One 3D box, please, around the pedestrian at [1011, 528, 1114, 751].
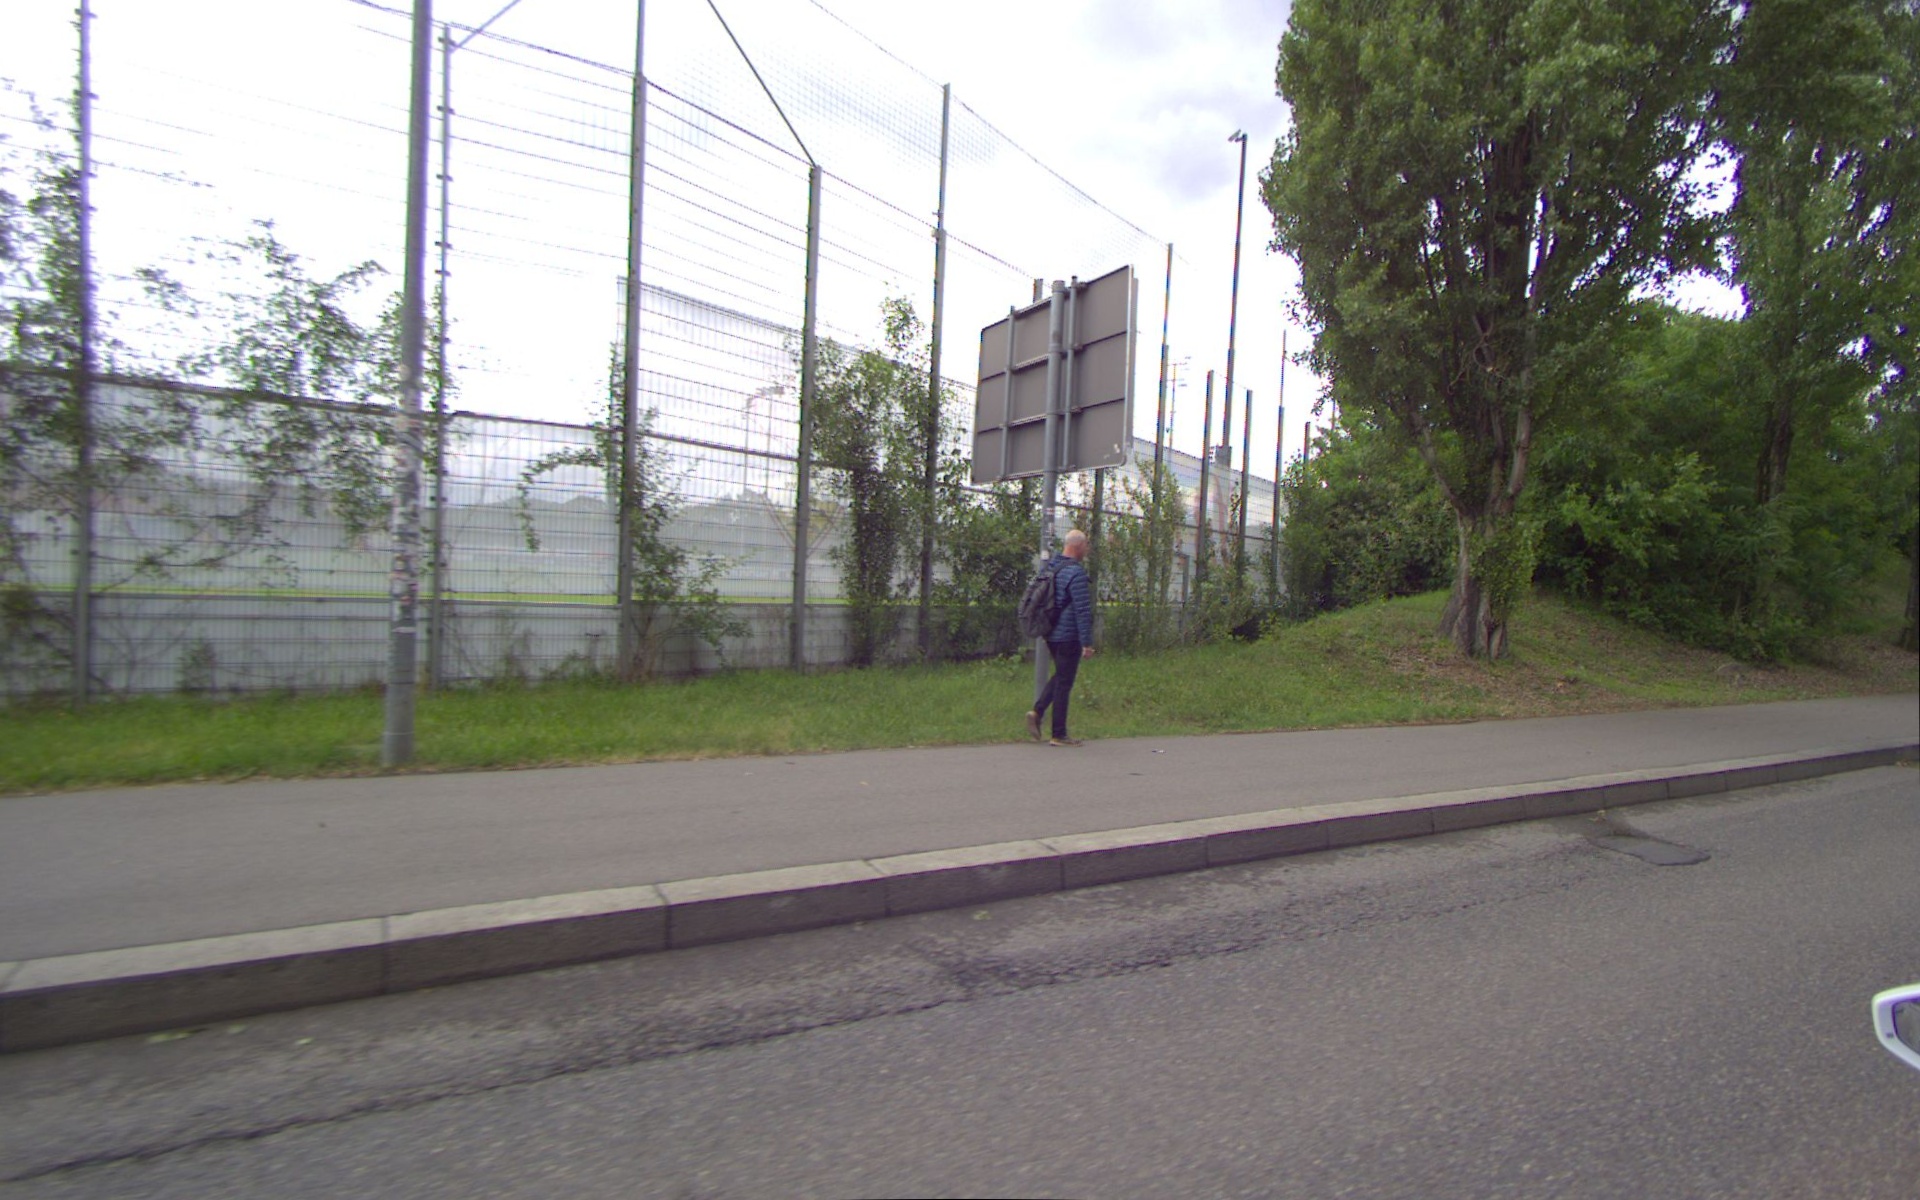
[{"bbox_3d":[0.852,0.312,8.640,0.790,1.805,0.920,1,2,2],"label":"pedestrian"}]
